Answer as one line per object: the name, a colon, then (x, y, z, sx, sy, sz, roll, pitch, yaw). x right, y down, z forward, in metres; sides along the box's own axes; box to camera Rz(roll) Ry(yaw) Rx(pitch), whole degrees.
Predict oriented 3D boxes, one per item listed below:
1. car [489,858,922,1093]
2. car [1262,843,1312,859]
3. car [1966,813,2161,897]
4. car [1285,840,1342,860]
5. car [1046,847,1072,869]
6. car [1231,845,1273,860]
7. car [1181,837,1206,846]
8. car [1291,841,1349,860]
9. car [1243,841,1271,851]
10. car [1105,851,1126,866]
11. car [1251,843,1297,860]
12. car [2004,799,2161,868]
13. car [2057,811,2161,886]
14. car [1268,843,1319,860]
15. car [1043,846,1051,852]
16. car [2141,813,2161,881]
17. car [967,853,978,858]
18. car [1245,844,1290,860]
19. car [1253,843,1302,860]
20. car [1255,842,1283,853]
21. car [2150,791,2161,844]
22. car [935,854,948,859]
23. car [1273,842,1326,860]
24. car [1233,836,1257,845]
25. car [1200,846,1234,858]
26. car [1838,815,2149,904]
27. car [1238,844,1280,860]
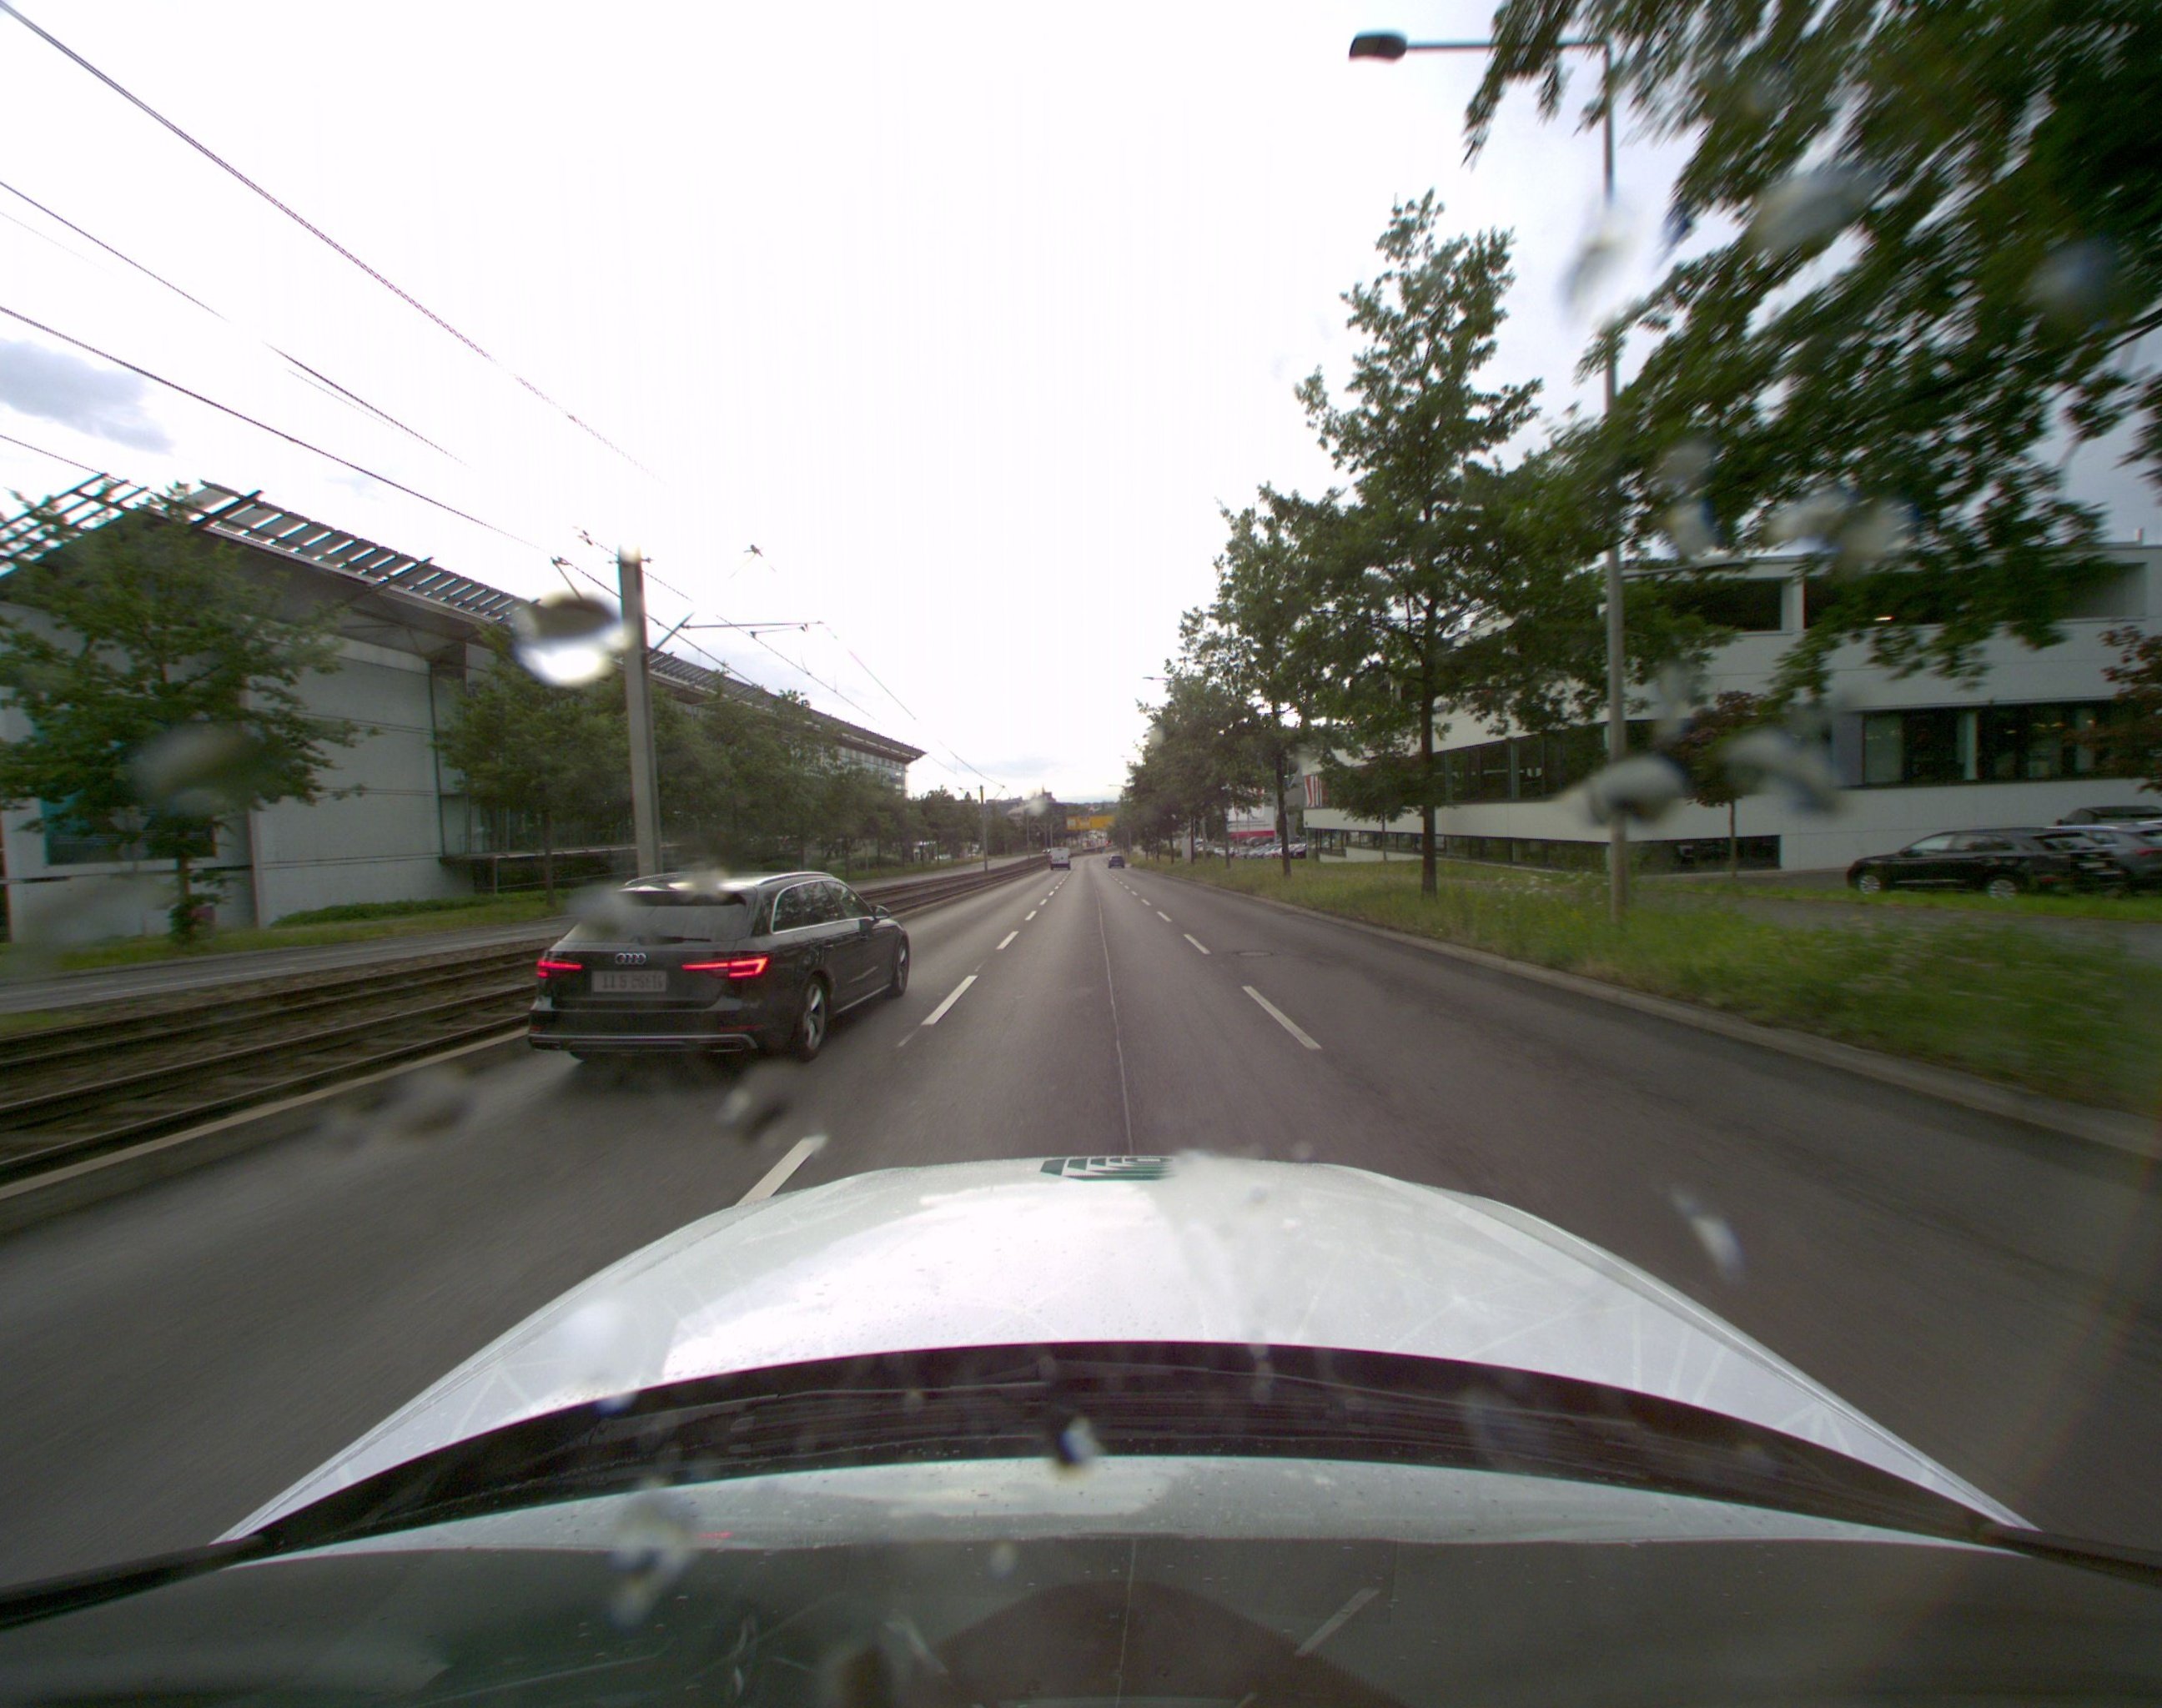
car: (-2.846, 0.785, 7.506, 1.758, 1.463, 4.628, 0, 0, 1)
car: (20.479, -0.276, 80.963, 4.448, 1.456, 1.930, -2, -1, -1)
car: (23.071, 0.001, 18.579, 1.692, 1.676, 3.641, -4, 0, -1)
car: (20.517, -0.334, 71.977, 4.384, 1.500, 2.040, -3, -1, -1)
car: (-2.240, 0.431, 85.286, 2.502, 2.177, 5.150, 0, -1, 1)
car: (20.121, -0.200, 95.713, 4.454, 1.551, 1.928, -2, -1, -5)
car: (20.288, -2.334, 147.525, 4.247, 1.574, 1.692, -1, 1, -2)
car: (20.129, -0.276, 68.760, 4.309, 1.378, 1.835, -3, -1, -3)
car: (29.095, -1.268, 134.608, 4.094, 1.574, 1.825, -1, 1, -1)
car: (3.818, 0.475, 90.144, 2.016, 1.623, 3.997, 0, -1, -2)
car: (20.557, -0.264, 86.794, 4.448, 1.528, 1.930, -3, -1, -1)
car: (30.124, -0.689, 24.030, 1.684, 1.675, 4.553, -3, 4, 17)
car: (25.379, -0.160, 18.596, 1.692, 1.676, 3.641, -4, 0, -1)
car: (20.271, -0.246, 77.818, 4.385, 1.348, 1.930, -3, -1, -1)
car: (-9.790, -1.492, 235.303, 1.875, 1.520, 4.406, -5, 1, 3)
car: (27.694, -0.175, 18.825, 1.692, 1.676, 3.641, 1, -1, 0)
car: (-30.161, 0.467, 226.263, 2.003, 1.510, 3.967, 0, -1, -25)
car: (20.525, -0.230, 89.776, 4.448, 1.551, 1.930, -3, -1, -1)
car: (20.229, -0.220, 83.990, 4.448, 1.456, 1.930, -3, -1, -1)
car: (30.422, -1.035, 132.029, 4.094, 1.574, 1.692, -2, 1, -2)
car: (34.876, -1.048, 24.767, 1.681, 1.675, 4.562, -1, 5, 37)
car: (-38.223, 0.716, 222.883, 2.007, 1.510, 3.960, 0, -1, -31)
car: (20.072, -0.279, 74.873, 4.384, 1.427, 1.890, -3, -1, -1)
car: (29.754, -2.496, 147.678, 4.094, 1.574, 1.692, -1, 1, -1)
car: (18.656, -0.276, 111.797, 4.103, 1.594, 1.943, -1, -1, -9)
car: (20.511, 0.131, 18.696, 1.897, 1.676, 4.588, -3, 0, 0)
car: (20.216, -0.217, 92.628, 4.266, 1.593, 1.825, -2, -1, -3)
